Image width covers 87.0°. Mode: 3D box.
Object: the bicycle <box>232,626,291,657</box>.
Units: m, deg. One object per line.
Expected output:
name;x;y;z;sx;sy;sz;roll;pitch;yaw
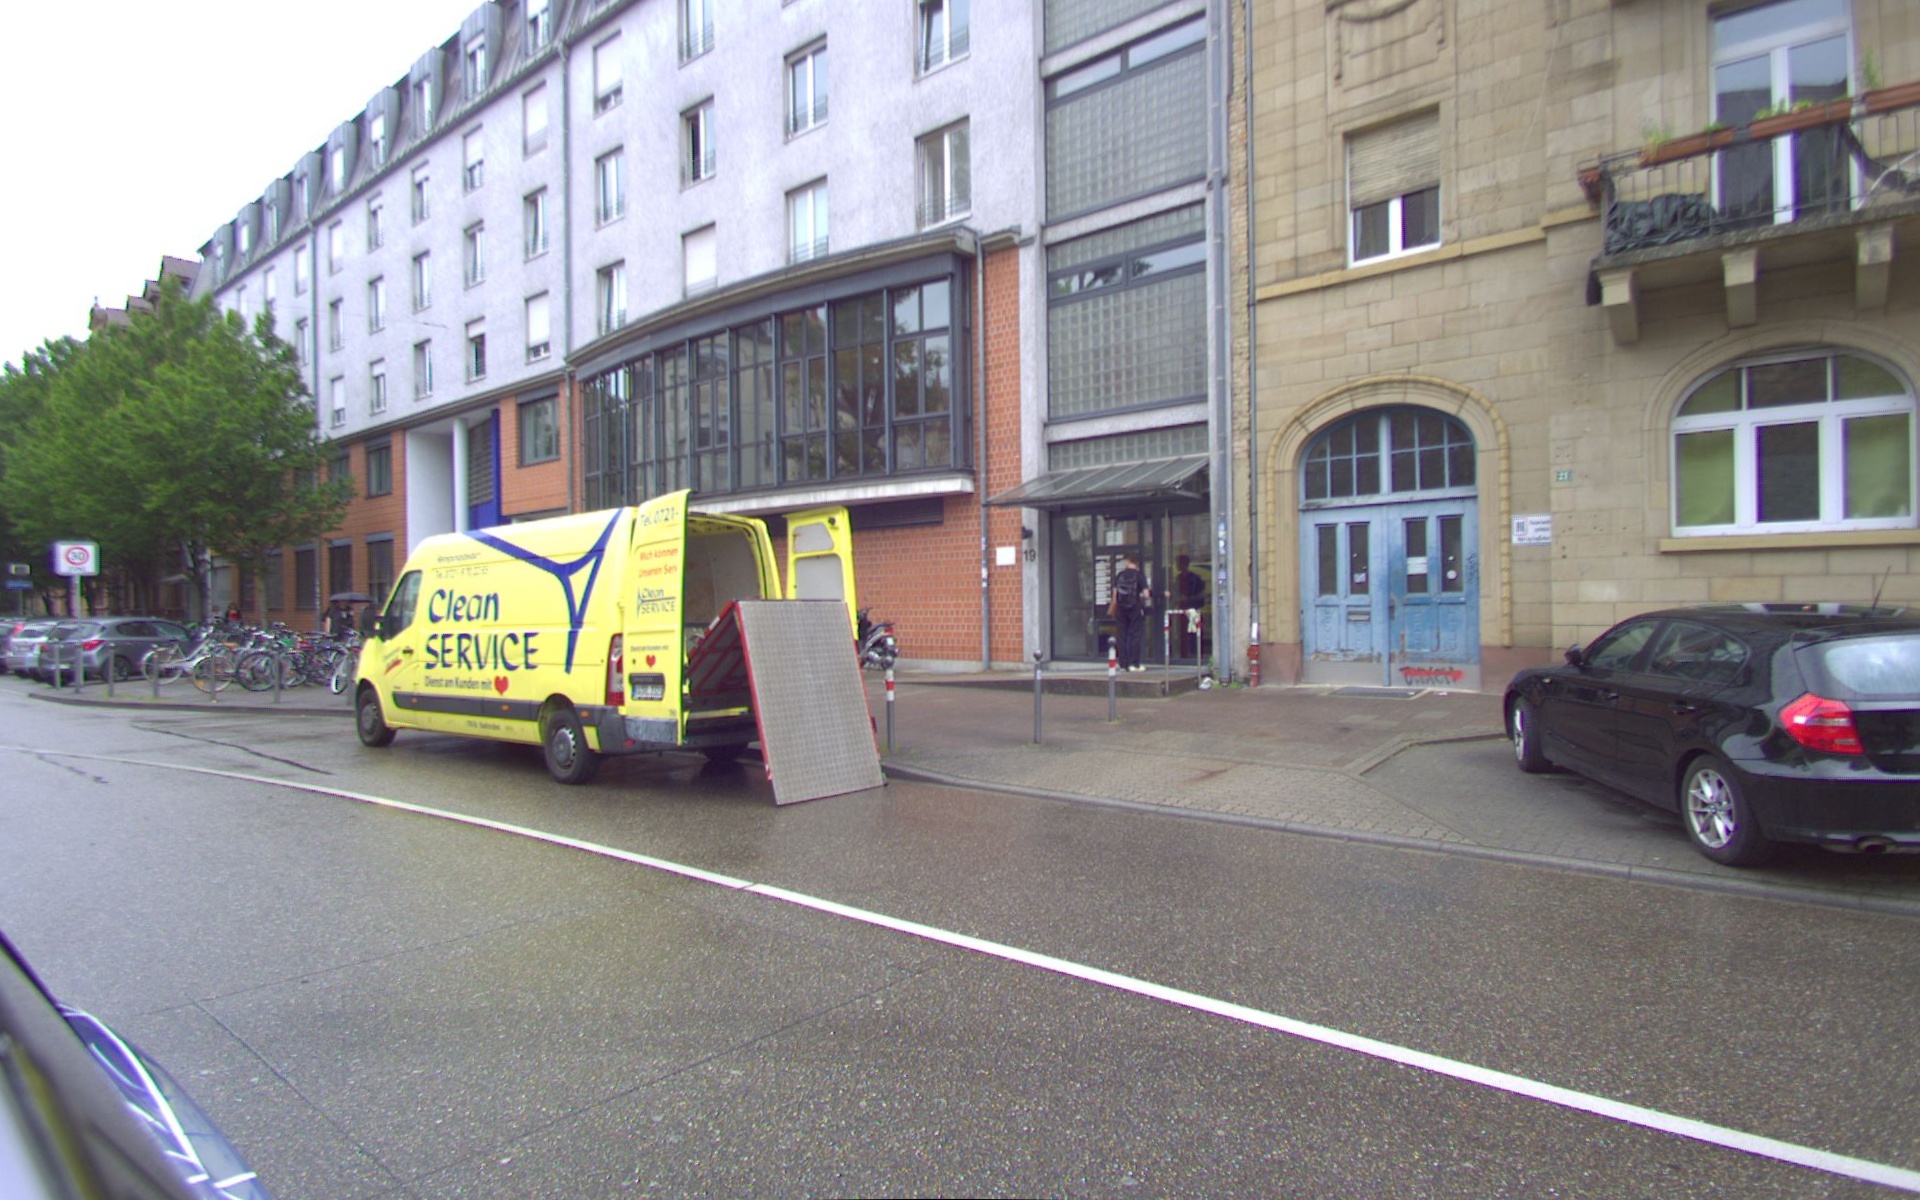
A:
bicycle;-23.265;1.366;33.744;0.444;0.992;1.573;-1;-1;32

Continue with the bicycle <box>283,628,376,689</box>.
bicycle;-12.115;1.110;19.460;0.418;1.072;1.442;-1;1;44

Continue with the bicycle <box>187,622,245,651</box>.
bicycle;-25.999;1.263;35.400;0.464;0.992;1.573;-1;-1;32

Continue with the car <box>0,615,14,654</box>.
car;-48.116;1.674;48.457;1.666;1.910;4.330;0;-1;-1

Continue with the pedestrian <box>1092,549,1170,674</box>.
pedestrian;2.495;0.166;14.709;0.785;1.741;0.997;-1;-1;31

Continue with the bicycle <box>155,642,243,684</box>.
bicycle;-16.568;1.359;22.067;0.497;0.811;1.454;-1;1;43

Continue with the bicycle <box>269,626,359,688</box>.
bicycle;-12.719;1.102;19.944;1.439;1.111;0.462;-2;1;-36

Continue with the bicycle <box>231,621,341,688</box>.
bicycle;-13.508;1.068;20.342;0.517;1.203;1.798;-1;1;27

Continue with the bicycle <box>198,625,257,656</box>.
bicycle;-24.705;1.364;34.160;0.444;0.992;1.573;-1;-1;32

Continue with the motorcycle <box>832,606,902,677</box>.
motorcycle;-1.684;0.707;18.022;0.516;1.190;1.763;-2;0;-30

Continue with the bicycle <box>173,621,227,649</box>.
bicycle;-28.253;1.286;37.642;0.464;0.992;1.573;-1;-1;32

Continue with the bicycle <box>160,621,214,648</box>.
bicycle;-29.208;1.289;38.269;0.464;0.992;1.573;-1;-1;32

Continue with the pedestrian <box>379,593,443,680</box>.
pedestrian;-11.547;0.754;21.279;0.859;1.719;0.817;-2;3;41

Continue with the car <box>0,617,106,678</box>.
car;-26.098;1.300;28.549;1.432;1.564;3.078;-2;0;0

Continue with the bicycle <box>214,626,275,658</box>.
bicycle;-23.249;1.355;32.917;0.444;0.992;1.573;-1;-1;32

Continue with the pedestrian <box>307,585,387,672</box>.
pedestrian;-14.381;0.648;23.752;1.055;1.894;1.213;-1;3;40

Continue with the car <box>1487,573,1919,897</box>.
car;5.277;0.657;6.715;1.777;1.523;4.036;-1;-1;6

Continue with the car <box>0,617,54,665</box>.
car;-32.478;1.409;34.157;1.138;1.567;2.672;-2;0;11

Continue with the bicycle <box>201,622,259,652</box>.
bicycle;-25.042;1.256;34.728;0.444;0.992;1.573;-1;-1;32

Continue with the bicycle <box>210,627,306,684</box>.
bicycle;-14.942;1.162;21.580;0.519;1.114;1.591;-1;1;35

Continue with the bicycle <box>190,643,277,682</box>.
bicycle;-15.791;1.355;22.017;0.497;0.727;1.454;-1;1;43

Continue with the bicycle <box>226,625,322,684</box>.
bicycle;-14.377;1.125;21.245;0.517;1.114;1.596;-1;1;27

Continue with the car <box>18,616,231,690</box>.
car;-19.289;1.167;23.573;1.720;1.514;3.614;-1;0;9

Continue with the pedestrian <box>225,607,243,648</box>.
pedestrian;-28.966;1.090;40.353;0.425;1.622;0.508;-1;-1;41

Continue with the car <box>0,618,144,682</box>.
car;-23.683;1.285;26.941;1.432;1.514;3.078;-2;0;0

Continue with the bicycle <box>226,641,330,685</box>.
bicycle;-13.941;1.277;20.736;0.455;0.767;1.757;-1;1;27

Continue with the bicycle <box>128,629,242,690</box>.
bicycle;-16.040;1.207;20.982;0.472;1.114;1.791;-1;1;35

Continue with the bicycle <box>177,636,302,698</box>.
bicycle;-13.237;1.211;18.638;0.519;1.000;1.778;-1;1;38

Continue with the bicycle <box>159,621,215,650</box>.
bicycle;-27.947;1.276;36.616;0.464;0.992;1.573;-1;-1;32

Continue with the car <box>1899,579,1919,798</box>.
car;7.470;0.609;5.347;1.780;1.585;4.029;-1;-1;11

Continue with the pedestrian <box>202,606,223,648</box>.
pedestrian;-29.593;1.067;40.077;0.372;1.622;0.598;-1;-1;39

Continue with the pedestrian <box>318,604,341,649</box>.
pedestrian;-21.758;0.925;34.940;0.547;1.541;0.509;-1;-2;37

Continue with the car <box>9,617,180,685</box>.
car;-21.585;1.235;25.385;1.436;1.514;3.070;-2;0;9

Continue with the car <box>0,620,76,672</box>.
car;-28.501;1.373;30.709;1.177;1.461;2.502;-2;0;0

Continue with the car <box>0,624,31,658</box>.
car;-42.907;1.812;44.162;1.662;1.502;3.798;0;-1;-10

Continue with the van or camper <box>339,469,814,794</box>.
van or camper;-4.393;0.320;10.948;5.936;2.631;2.174;-1;-2;40

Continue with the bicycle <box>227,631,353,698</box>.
bicycle;-12.256;1.154;18.554;1.832;1.081;0.610;-2;1;-44

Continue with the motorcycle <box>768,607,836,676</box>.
motorcycle;-2.972;0.743;18.859;0.516;1.190;2.010;-2;0;-30

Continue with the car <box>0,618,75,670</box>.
car;-30.379;1.413;32.333;1.358;1.567;2.971;-2;0;11

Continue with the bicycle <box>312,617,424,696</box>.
bicycle;-10.658;0.989;18.306;0.760;1.225;1.917;0;2;5

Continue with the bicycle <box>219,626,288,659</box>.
bicycle;-22.809;1.353;32.705;0.444;0.992;1.830;-1;-1;32

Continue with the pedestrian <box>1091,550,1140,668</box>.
pedestrian;2.360;0.143;15.406;0.467;1.761;0.608;0;-2;-24
